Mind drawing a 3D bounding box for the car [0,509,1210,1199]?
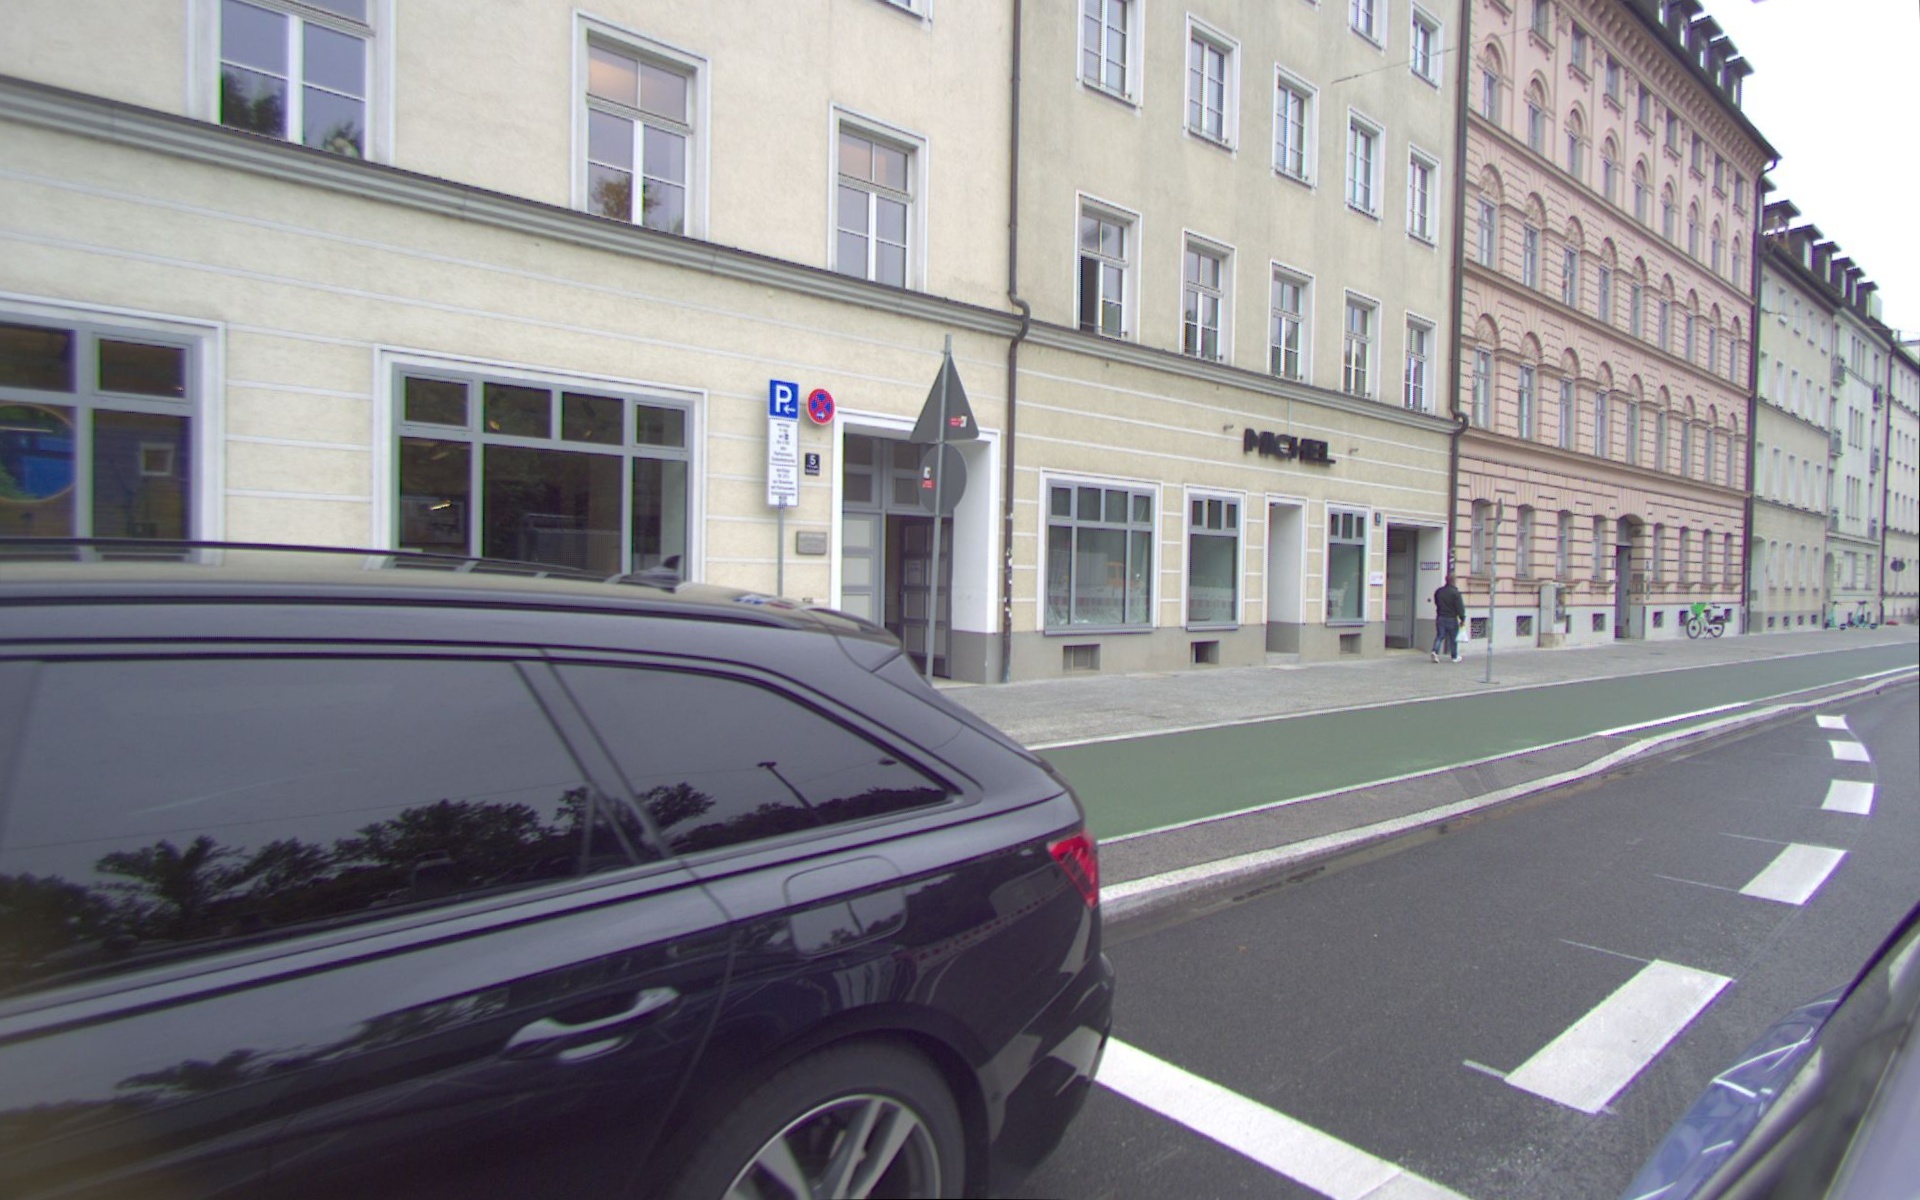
[{"bbox_3d":[-1.738,0.630,1.509,4.383,1.498,1.813,0,5,-41],"label":"car"}]

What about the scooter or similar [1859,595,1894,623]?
[{"bbox_3d":[41.854,0.402,46.230,1.064,1.207,0.450,2,1,23],"label":"scooter or similar"}]

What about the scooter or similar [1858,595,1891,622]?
[{"bbox_3d":[42.706,0.407,47.268,1.060,1.207,0.435,1,1,12],"label":"scooter or similar"}]

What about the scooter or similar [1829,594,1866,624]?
[{"bbox_3d":[38.048,0.371,43.399,1.055,1.261,0.554,1,1,-4],"label":"scooter or similar"}]

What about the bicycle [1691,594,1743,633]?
[{"bbox_3d":[23.938,0.423,31.996,1.689,1.191,0.558,1,1,-24],"label":"bicycle"}]

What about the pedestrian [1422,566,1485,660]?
[{"bbox_3d":[9.612,0.233,19.703,0.818,1.767,0.796,0,1,-38],"label":"pedestrian"}]
